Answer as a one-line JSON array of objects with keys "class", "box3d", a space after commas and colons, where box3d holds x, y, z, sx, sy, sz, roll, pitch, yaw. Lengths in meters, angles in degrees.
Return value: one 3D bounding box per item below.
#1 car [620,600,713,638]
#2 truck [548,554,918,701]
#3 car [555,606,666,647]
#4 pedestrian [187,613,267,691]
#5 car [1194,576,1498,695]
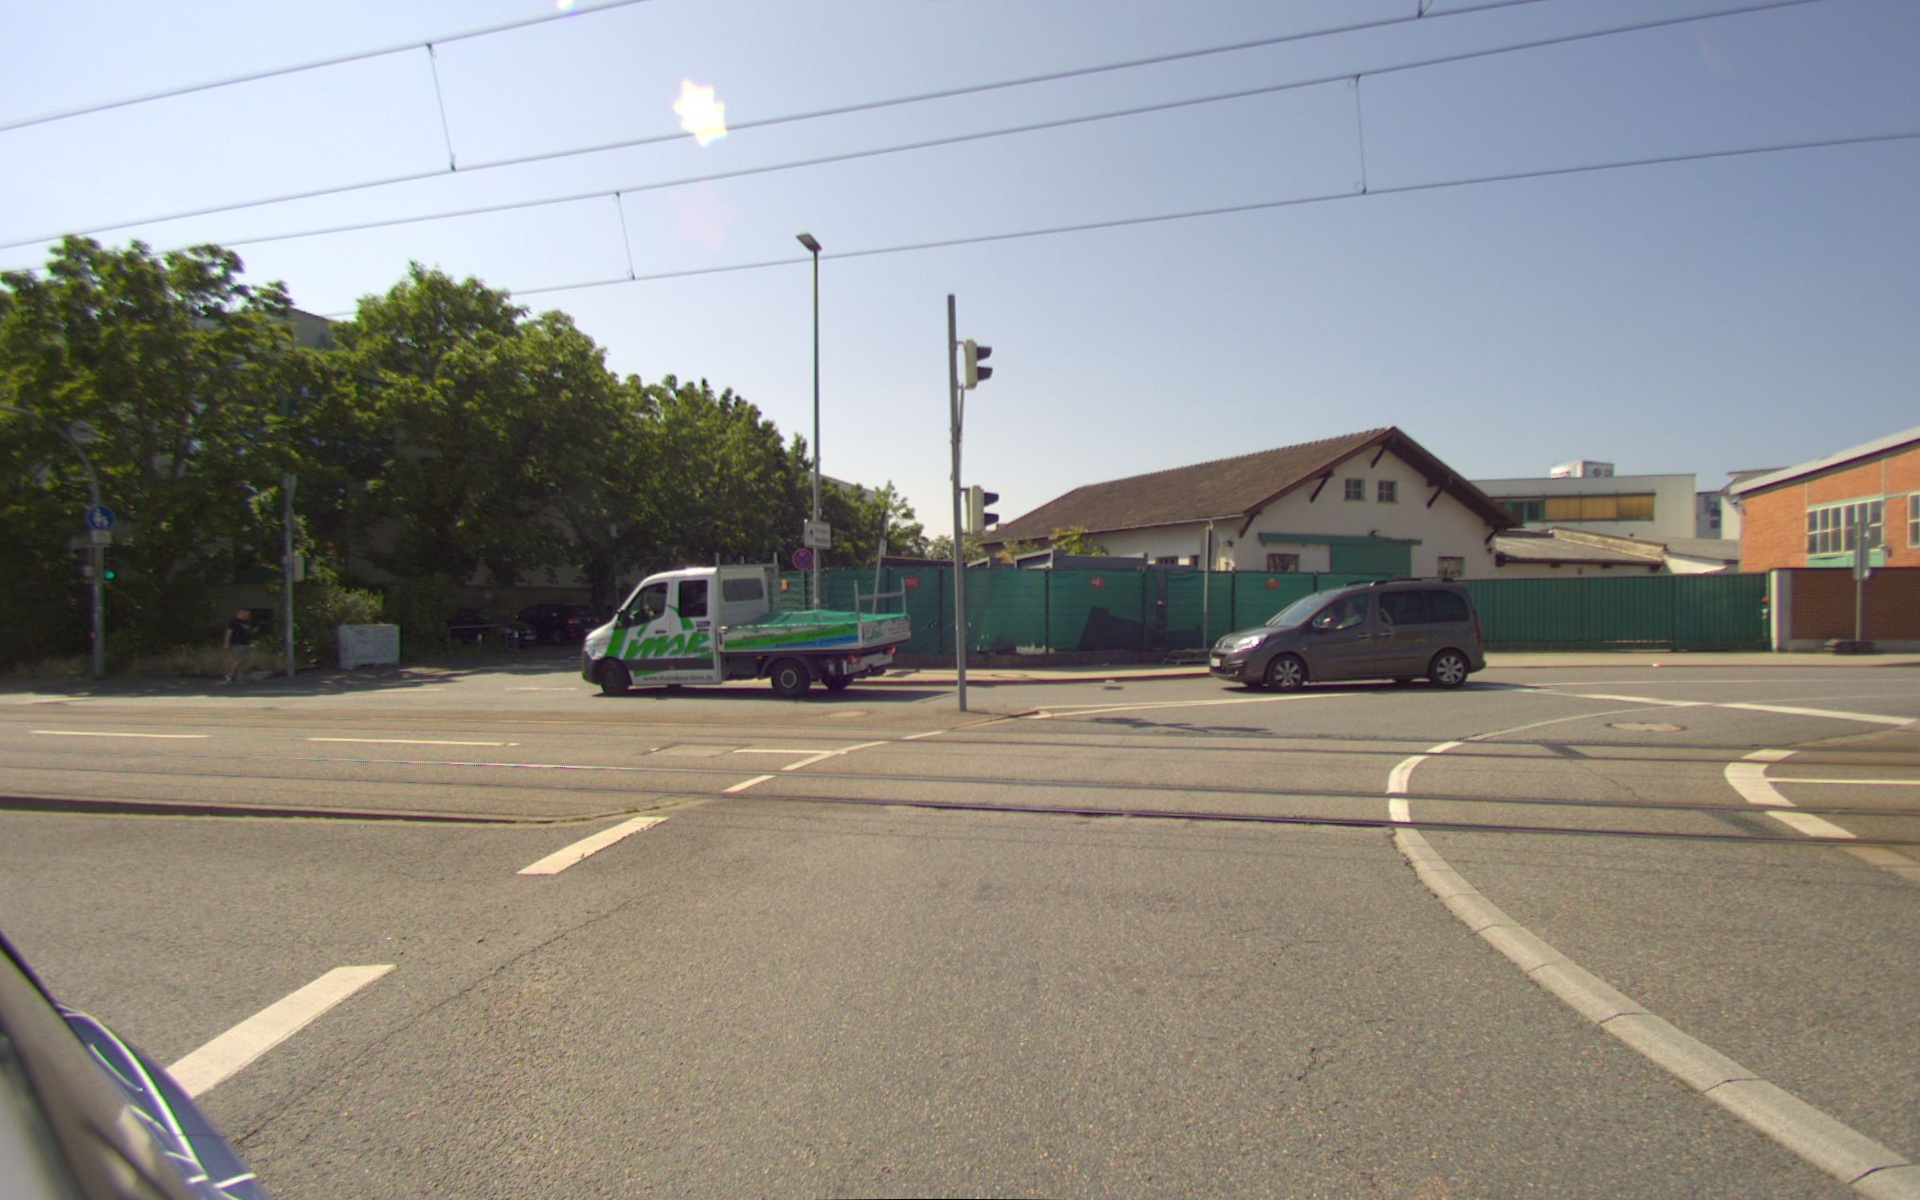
[{"class": "car", "box3d": [-13.602, 0.875, 46.922, 3.824, 1.650, 1.621, -1, -1, 10]}, {"class": "truck", "box3d": [-4.111, 0.505, 18.317, 6.340, 2.355, 2.196, -1, 0, 20]}, {"class": "car", "box3d": [-13.502, 1.008, 39.260, 3.805, 1.478, 1.629, -1, -1, -8]}, {"class": "pedestrian", "box3d": [-16.683, 1.173, 23.051, 1.149, 1.682, 0.885, -1, 2, 15]}, {"class": "car", "box3d": [6.430, 0.581, 17.248, 4.347, 1.832, 1.990, -1, -1, 0]}]
